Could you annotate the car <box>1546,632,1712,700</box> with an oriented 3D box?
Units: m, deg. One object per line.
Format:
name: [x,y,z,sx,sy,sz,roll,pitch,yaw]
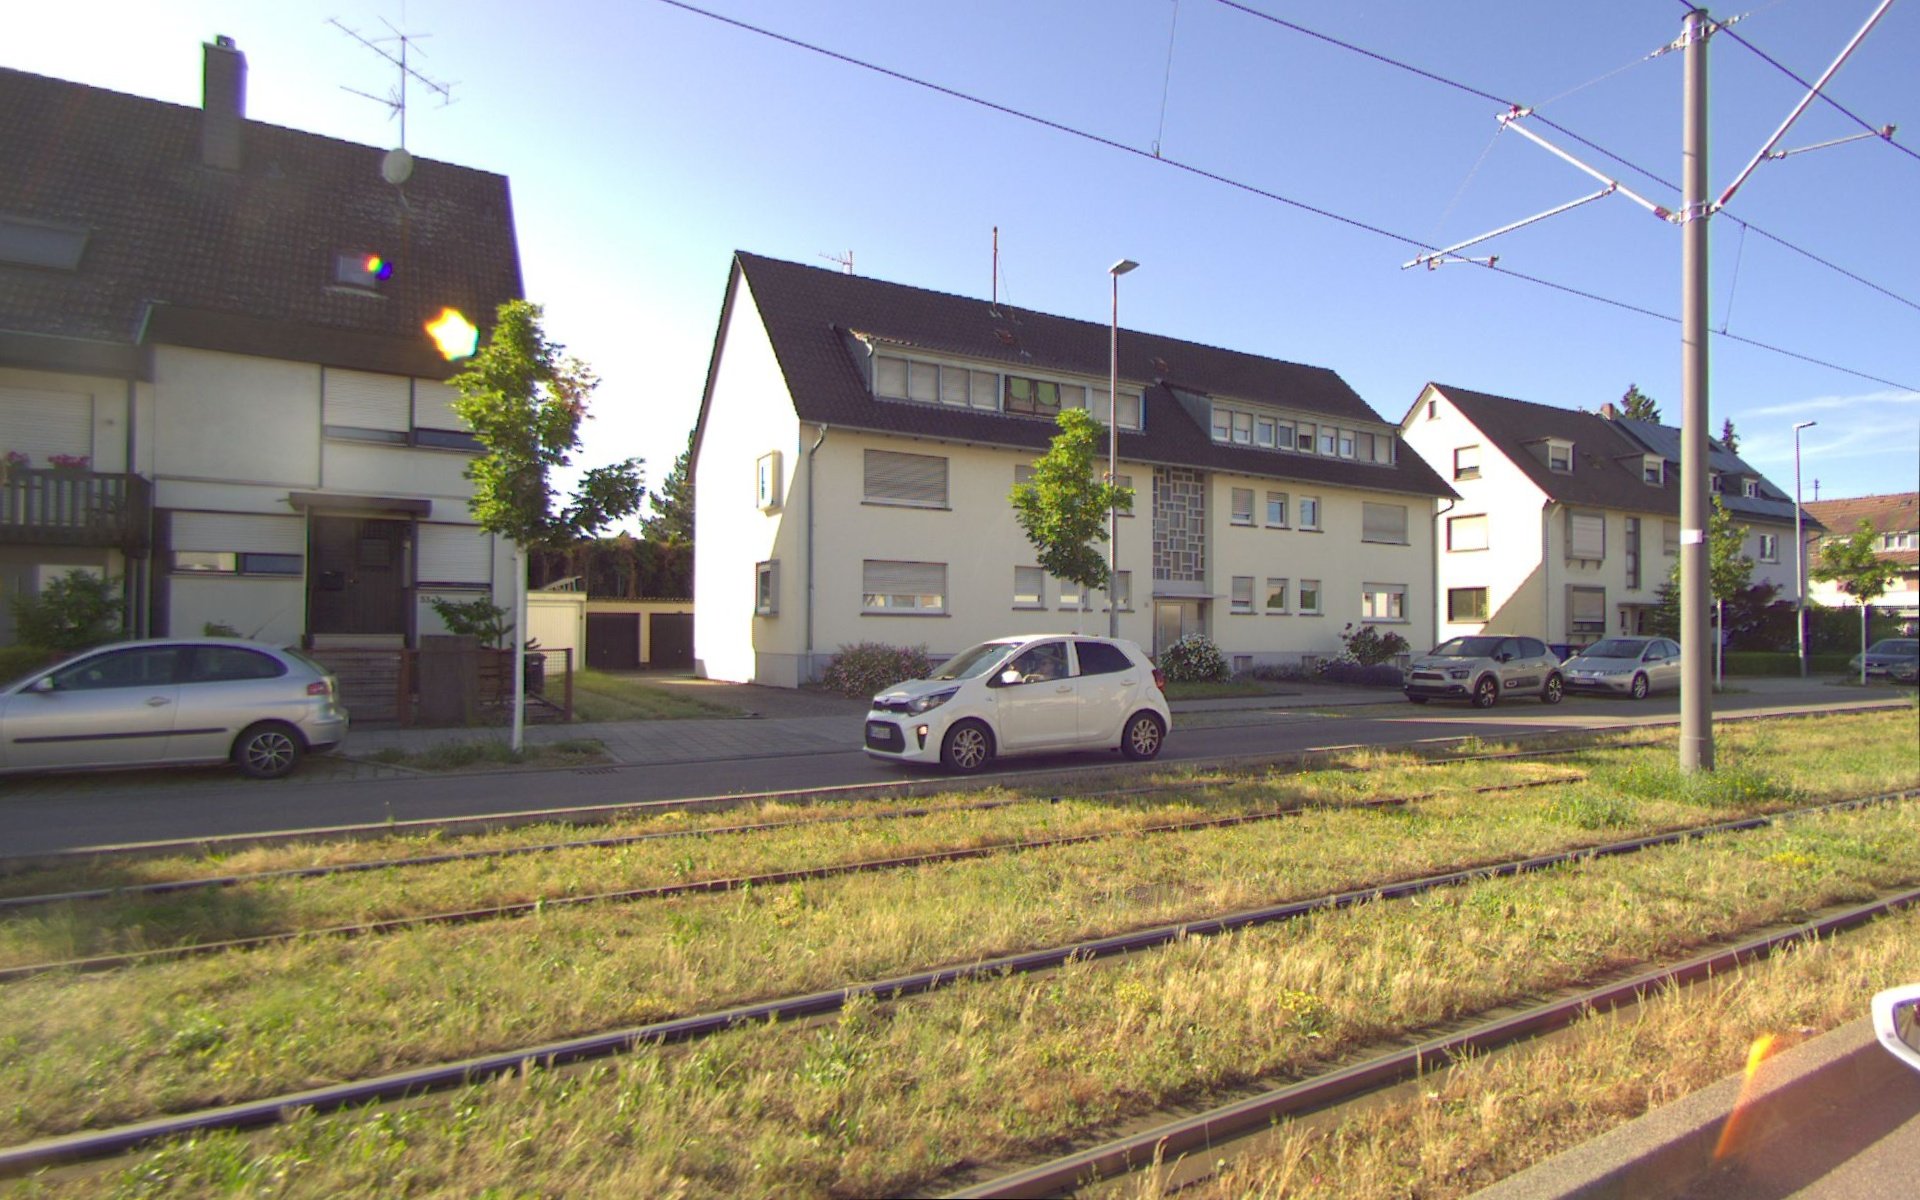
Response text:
car: [16.475,1.581,24.678,4.392,1.495,1.680,2,-1,-31]

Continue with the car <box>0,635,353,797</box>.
car: [-8.613,1.099,10.269,4.056,1.455,1.650,1,-1,-31]

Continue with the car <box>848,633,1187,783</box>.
car: [0.695,1.175,11.690,3.637,1.494,1.681,2,-4,-31]

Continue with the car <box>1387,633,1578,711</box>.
car: [11.334,1.502,21.732,4.265,1.492,1.680,2,-1,-31]

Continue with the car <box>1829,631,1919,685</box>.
car: [30.387,1.850,32.537,4.501,1.561,1.952,2,-1,-29]

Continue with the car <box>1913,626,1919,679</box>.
car: [35.670,1.868,35.323,4.781,1.847,1.738,1,0,-29]
